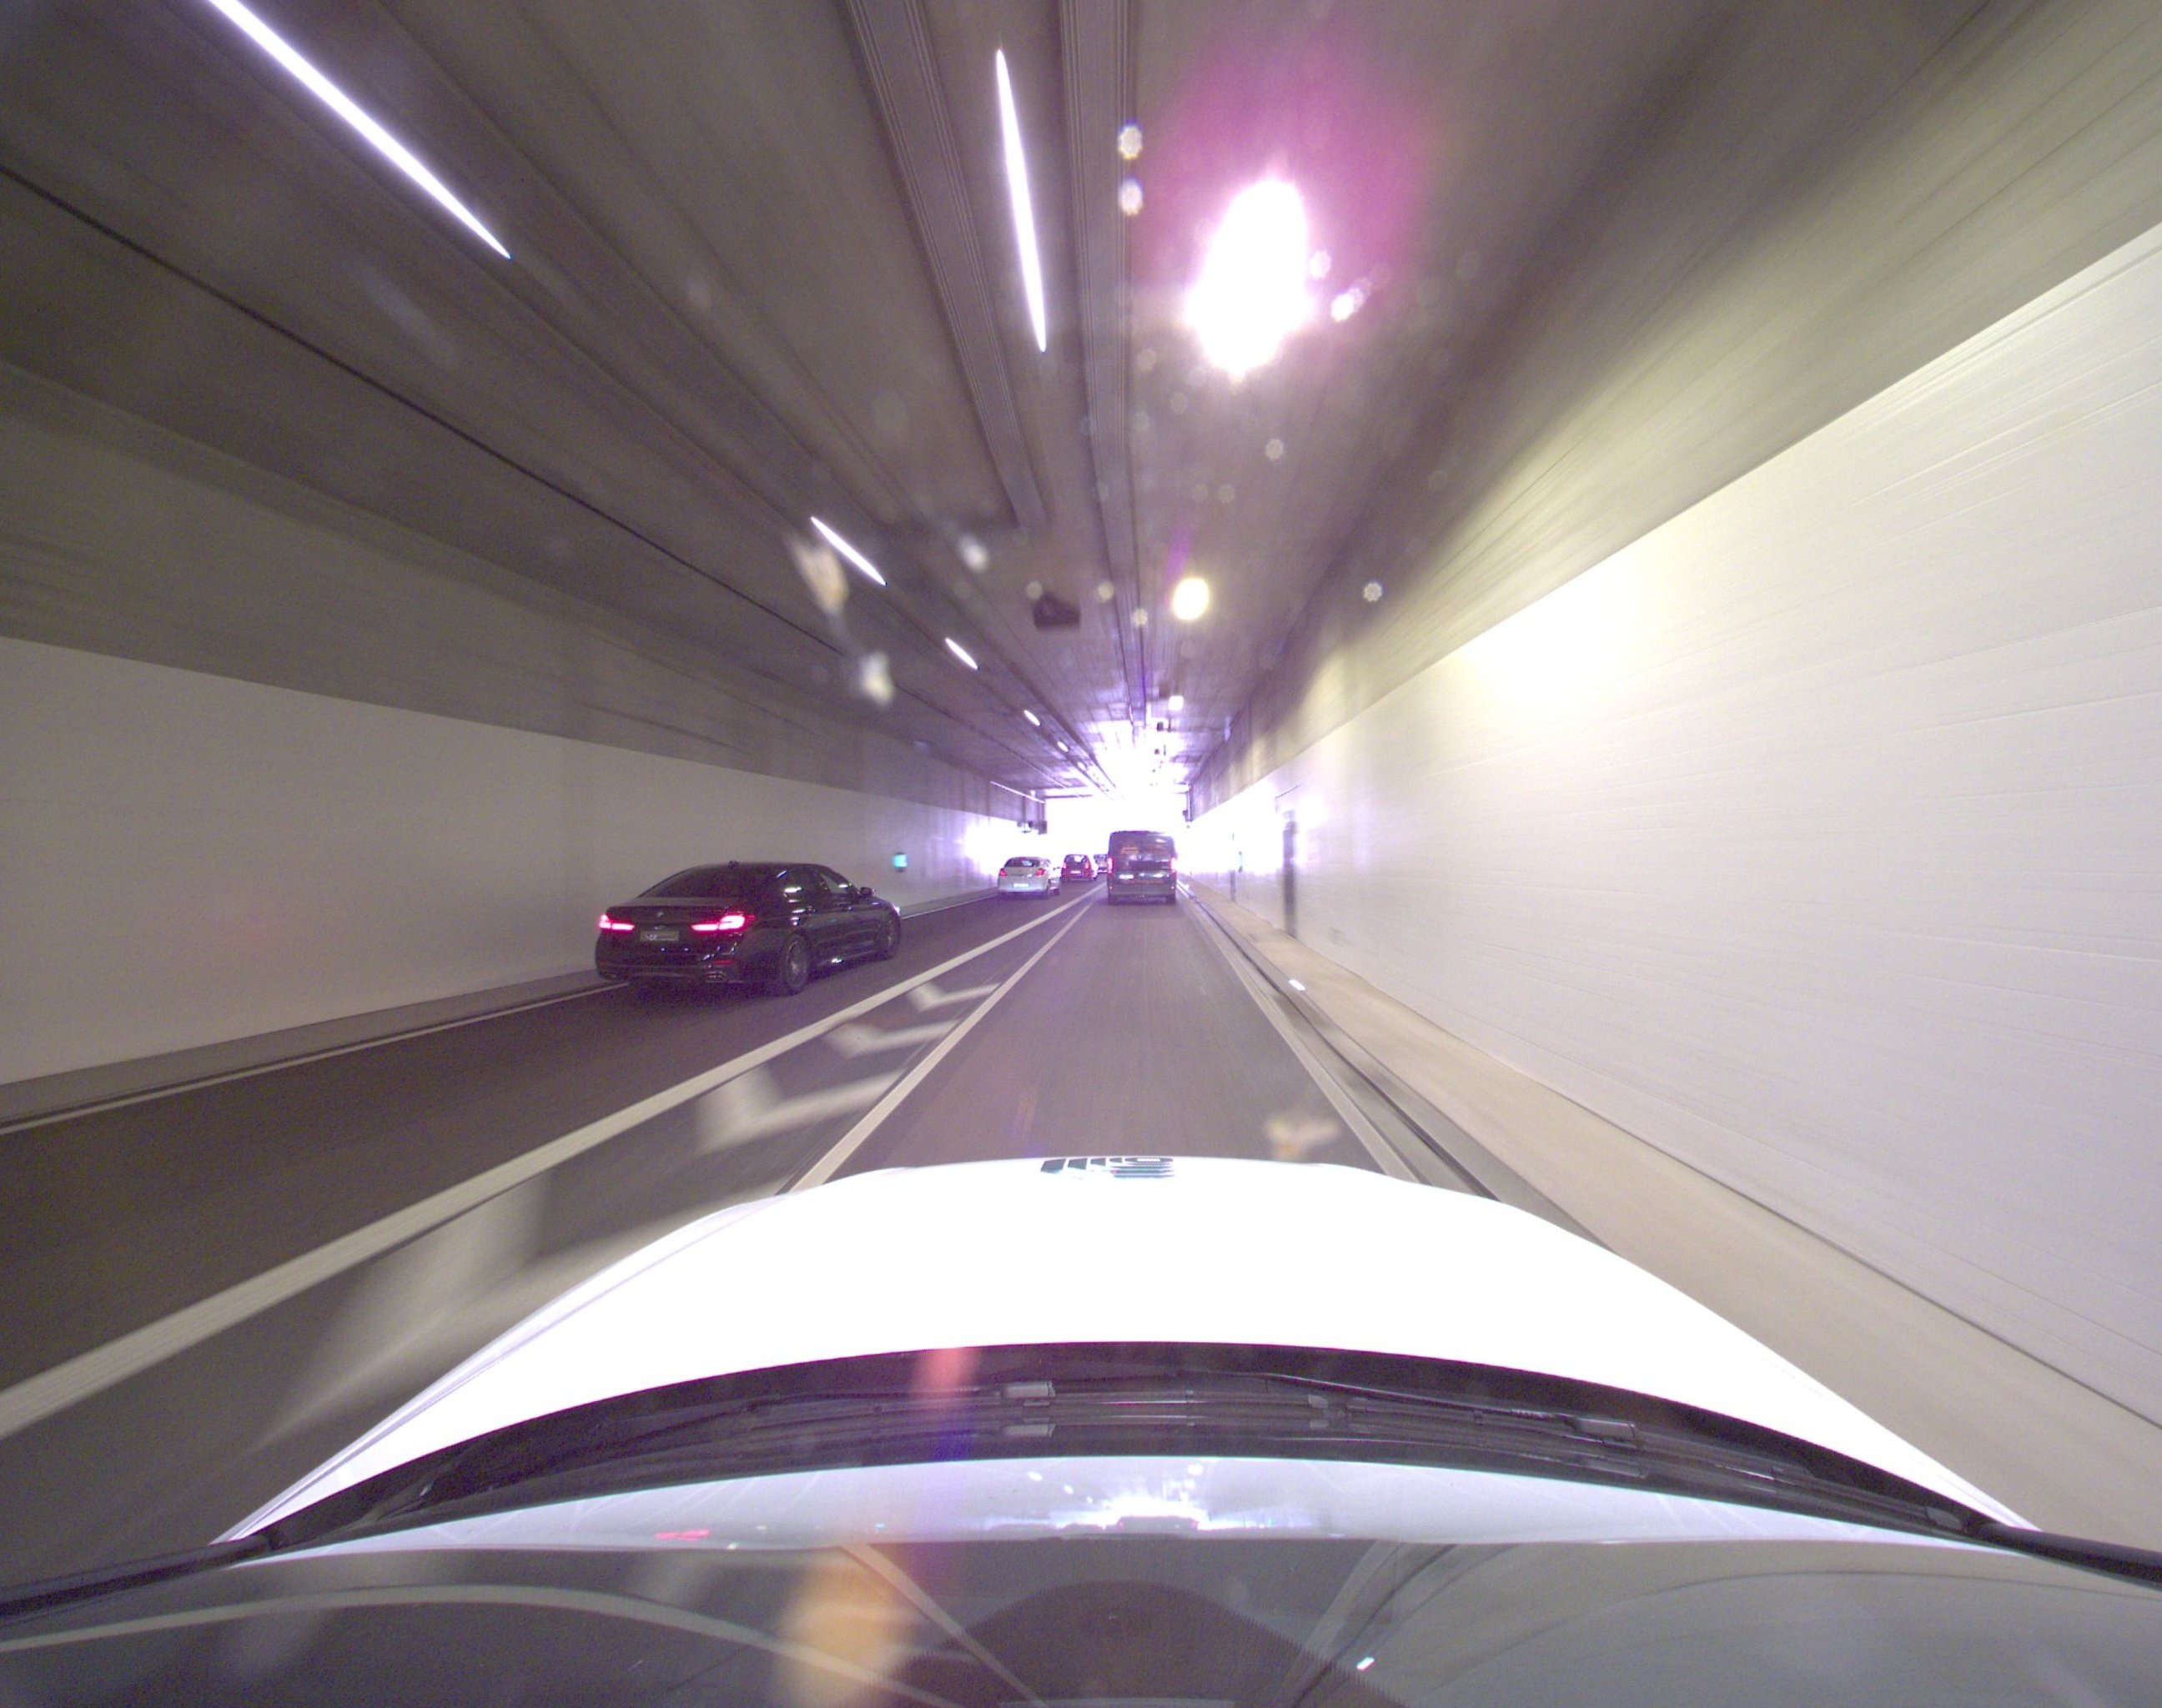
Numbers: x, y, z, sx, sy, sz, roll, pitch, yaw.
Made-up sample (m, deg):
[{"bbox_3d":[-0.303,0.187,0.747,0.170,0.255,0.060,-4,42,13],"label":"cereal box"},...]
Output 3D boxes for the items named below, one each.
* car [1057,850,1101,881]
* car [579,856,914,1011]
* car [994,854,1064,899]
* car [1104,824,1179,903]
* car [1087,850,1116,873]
[{"bbox_3d":[-0.057,0.542,42.511,1.805,1.512,4.229,0,1,7],"label":"car"},{"bbox_3d":[-3.761,0.768,10.304,1.686,1.422,4.862,1,0,7],"label":"car"},{"bbox_3d":[-1.708,0.720,28.048,1.700,1.413,3.981,0,0,6],"label":"car"},{"bbox_3d":[1.904,0.263,25.617,2.148,2.266,4.642,0,0,4],"label":"car"},{"bbox_3d":[1.478,0.552,57.579,1.868,1.581,4.224,0,-1,4],"label":"car"}]
